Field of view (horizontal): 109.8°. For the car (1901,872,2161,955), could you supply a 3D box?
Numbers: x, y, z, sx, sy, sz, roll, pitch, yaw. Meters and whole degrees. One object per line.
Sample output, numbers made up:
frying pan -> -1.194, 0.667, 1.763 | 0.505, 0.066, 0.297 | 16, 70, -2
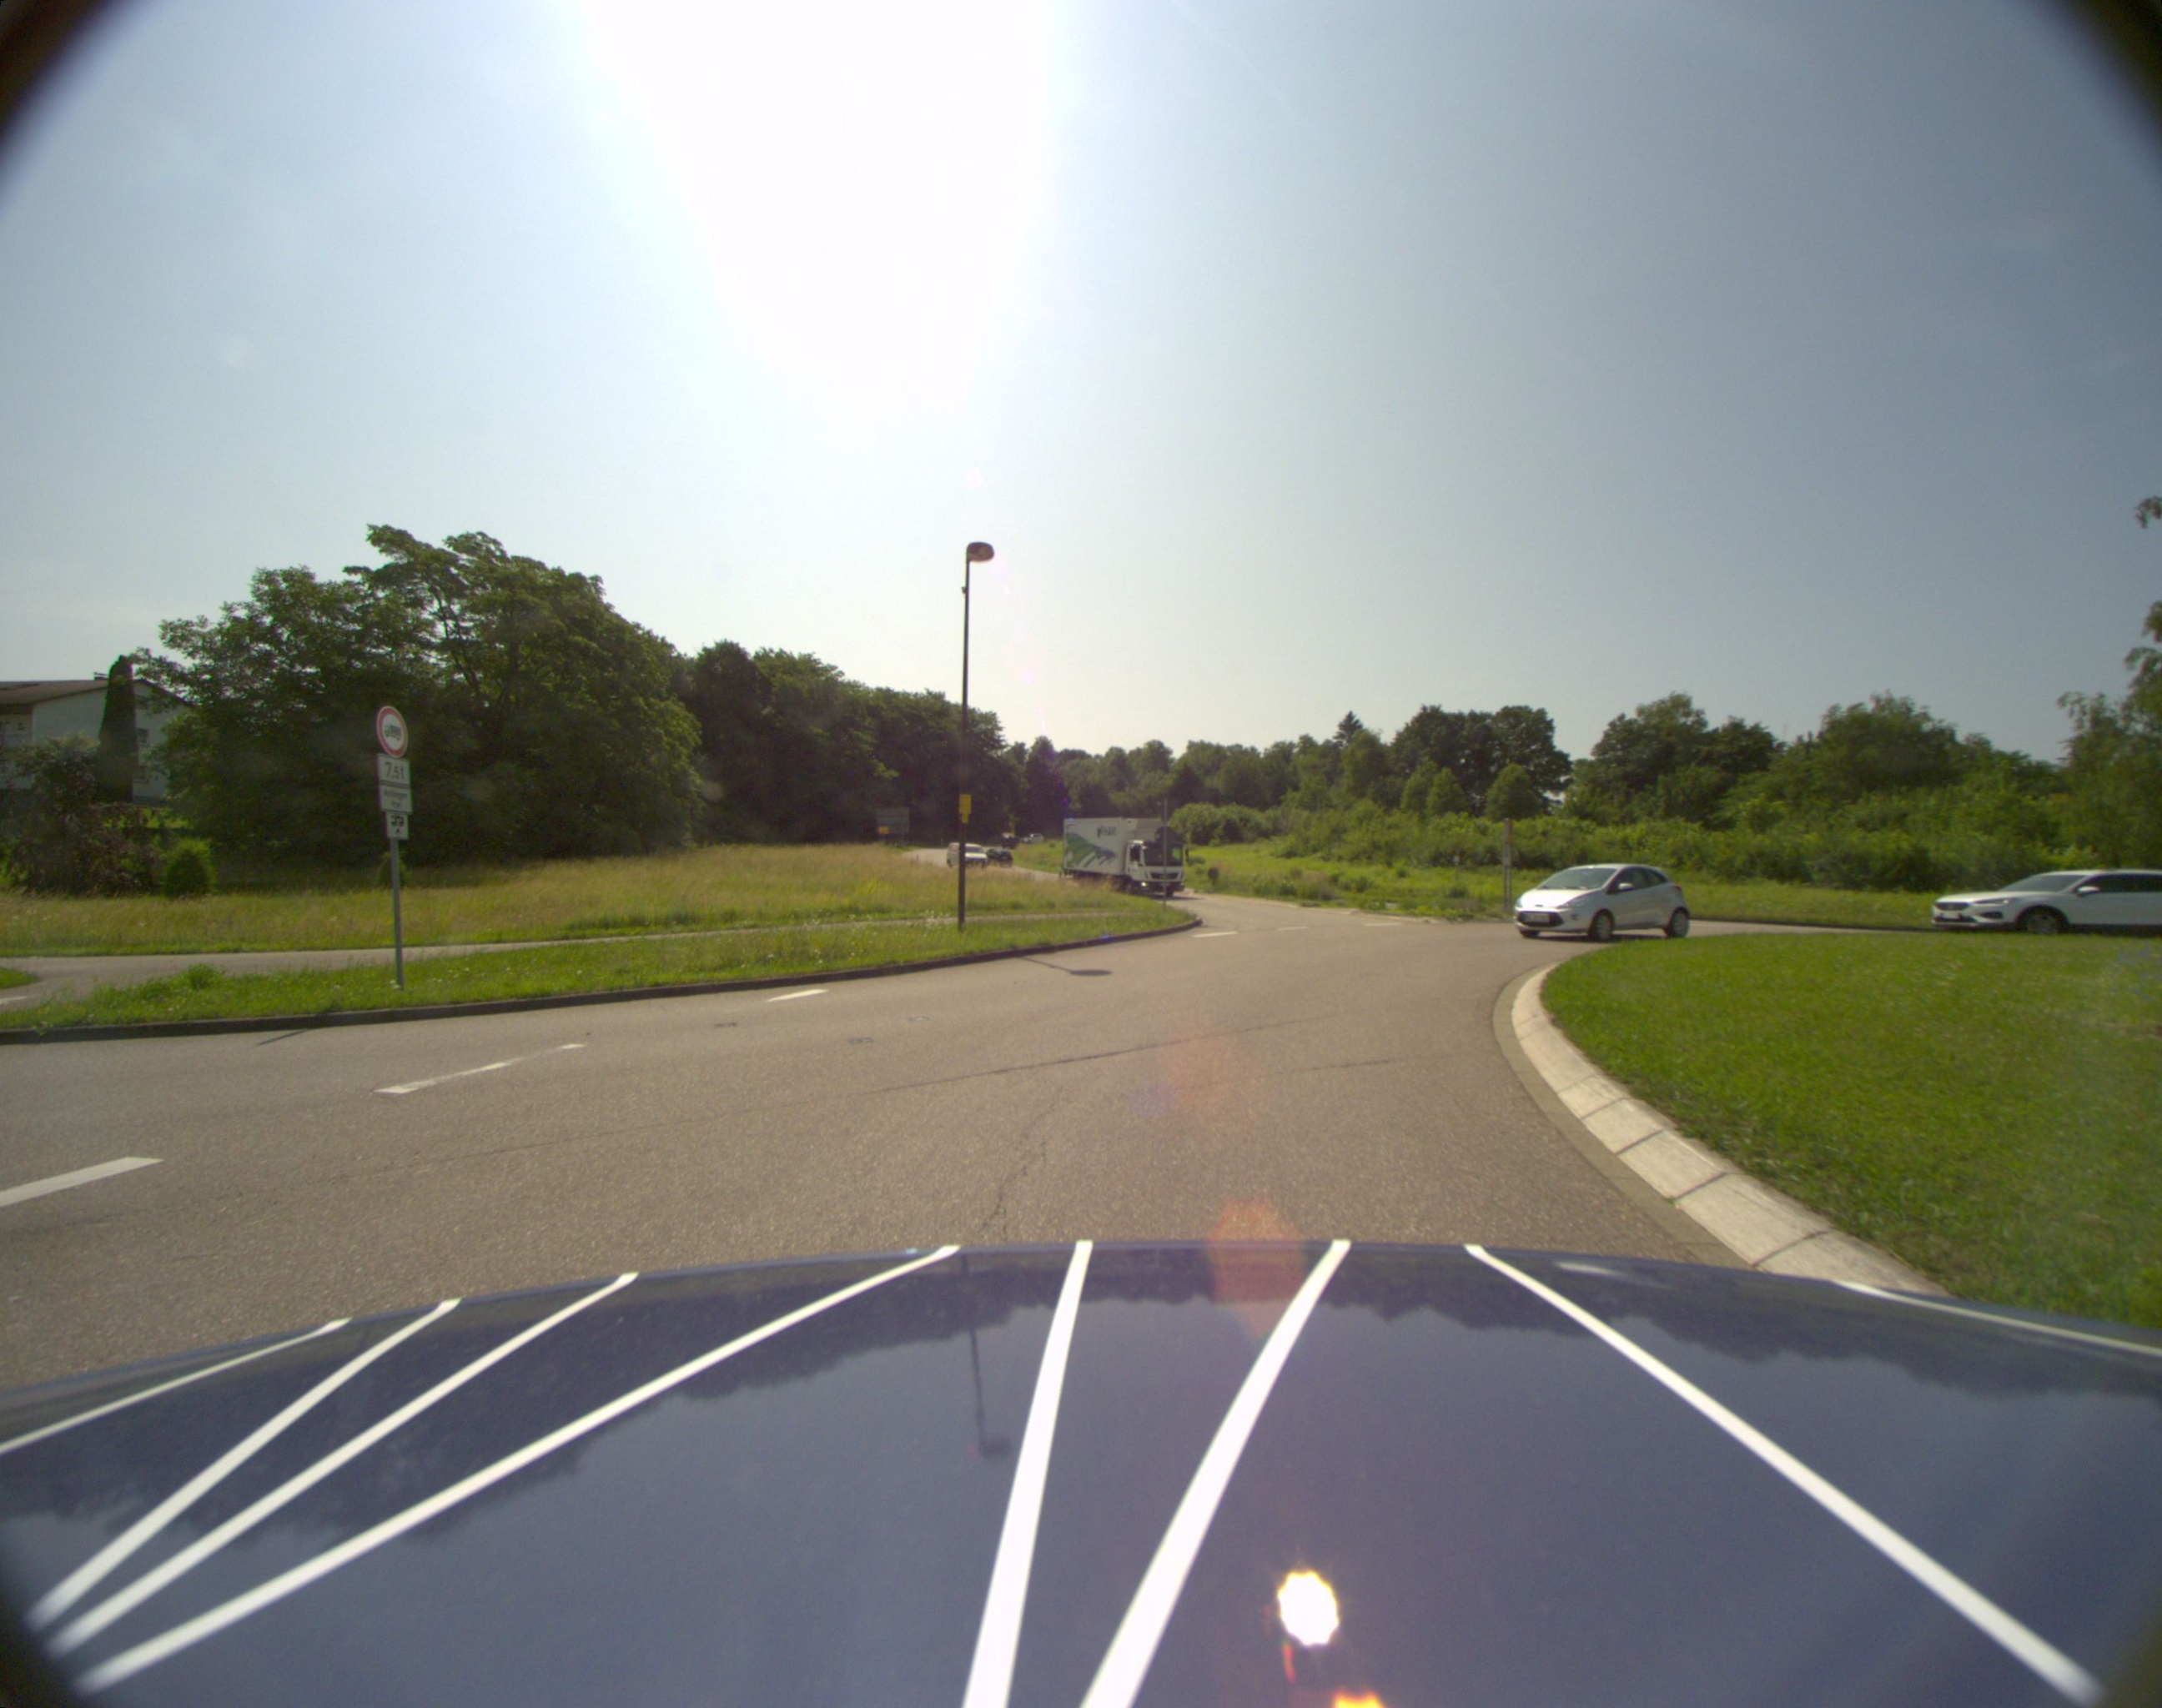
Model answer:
car -> 22.367, 1.268, 16.988 | 5.112, 1.643, 2.200 | -1, 1, 13

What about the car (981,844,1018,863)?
car -> -7.016, -0.038, 65.045 | 1.761, 1.520, 4.204 | 3, -1, -26

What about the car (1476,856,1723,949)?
car -> 10.506, 0.911, 15.452 | 4.203, 1.606, 2.126 | -1, -1, -21

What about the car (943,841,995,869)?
car -> -8.505, 0.044, 57.232 | 2.003, 2.002, 5.589 | -1, 1, -29

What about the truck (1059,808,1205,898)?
truck -> 2.156, -0.113, 36.944 | 2.904, 3.807, 9.002 | -1, 1, -27

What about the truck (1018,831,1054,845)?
truck -> -6.410, -2.298, 109.515 | 2.356, 2.002, 5.450 | 0, 1, 33

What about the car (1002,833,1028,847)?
car -> -8.401, -1.799, 97.001 | 1.909, 1.586, 4.379 | 2, -1, 14
